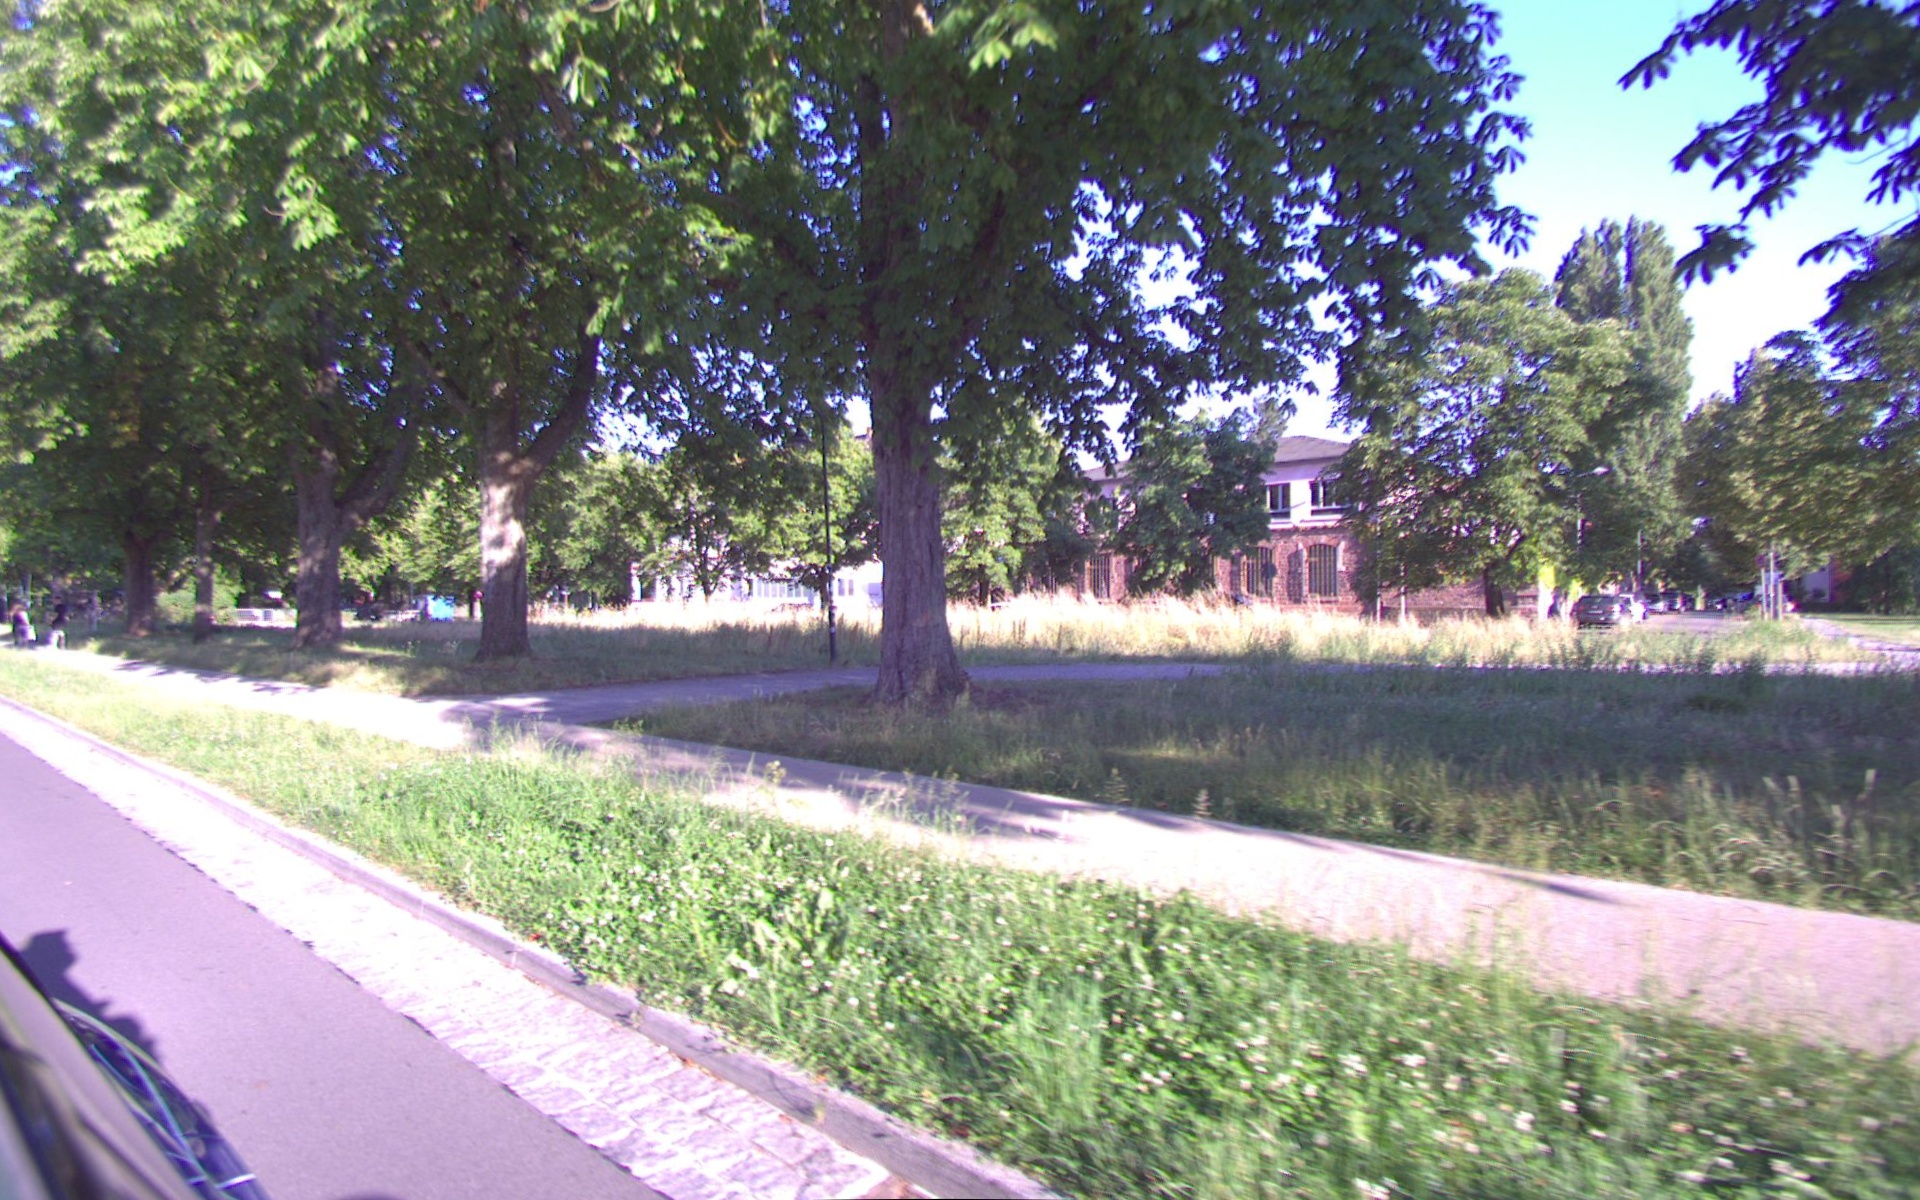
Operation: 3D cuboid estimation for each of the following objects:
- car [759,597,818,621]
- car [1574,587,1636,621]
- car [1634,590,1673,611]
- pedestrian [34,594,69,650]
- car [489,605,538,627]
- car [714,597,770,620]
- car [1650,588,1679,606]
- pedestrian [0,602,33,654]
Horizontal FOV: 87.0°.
[{"bbox_3d":[-10.997,0.569,64.834,3.794,1.490,1.744,0,1,41],"label":"car"},{"bbox_3d":[26.945,0.150,42.239,1.586,1.290,3.589,0,1,42],"label":"car"},{"bbox_3d":[44.265,0.015,64.604,1.586,1.290,3.589,0,1,42],"label":"car"},{"bbox_3d":[-30.678,0.747,34.179,0.616,1.865,0.606,-1,1,-9],"label":"pedestrian"},{"bbox_3d":[-35.201,1.291,79.688,4.424,1.641,1.849,-1,0,41],"label":"car"},{"bbox_3d":[-14.646,0.544,67.901,3.794,1.490,1.744,0,1,41],"label":"car"},{"bbox_3d":[53.595,-0.214,77.008,1.585,1.290,3.592,0,1,39],"label":"car"},{"bbox_3d":[-30.644,0.897,32.848,0.616,1.643,0.607,-1,1,-23],"label":"pedestrian"}]
